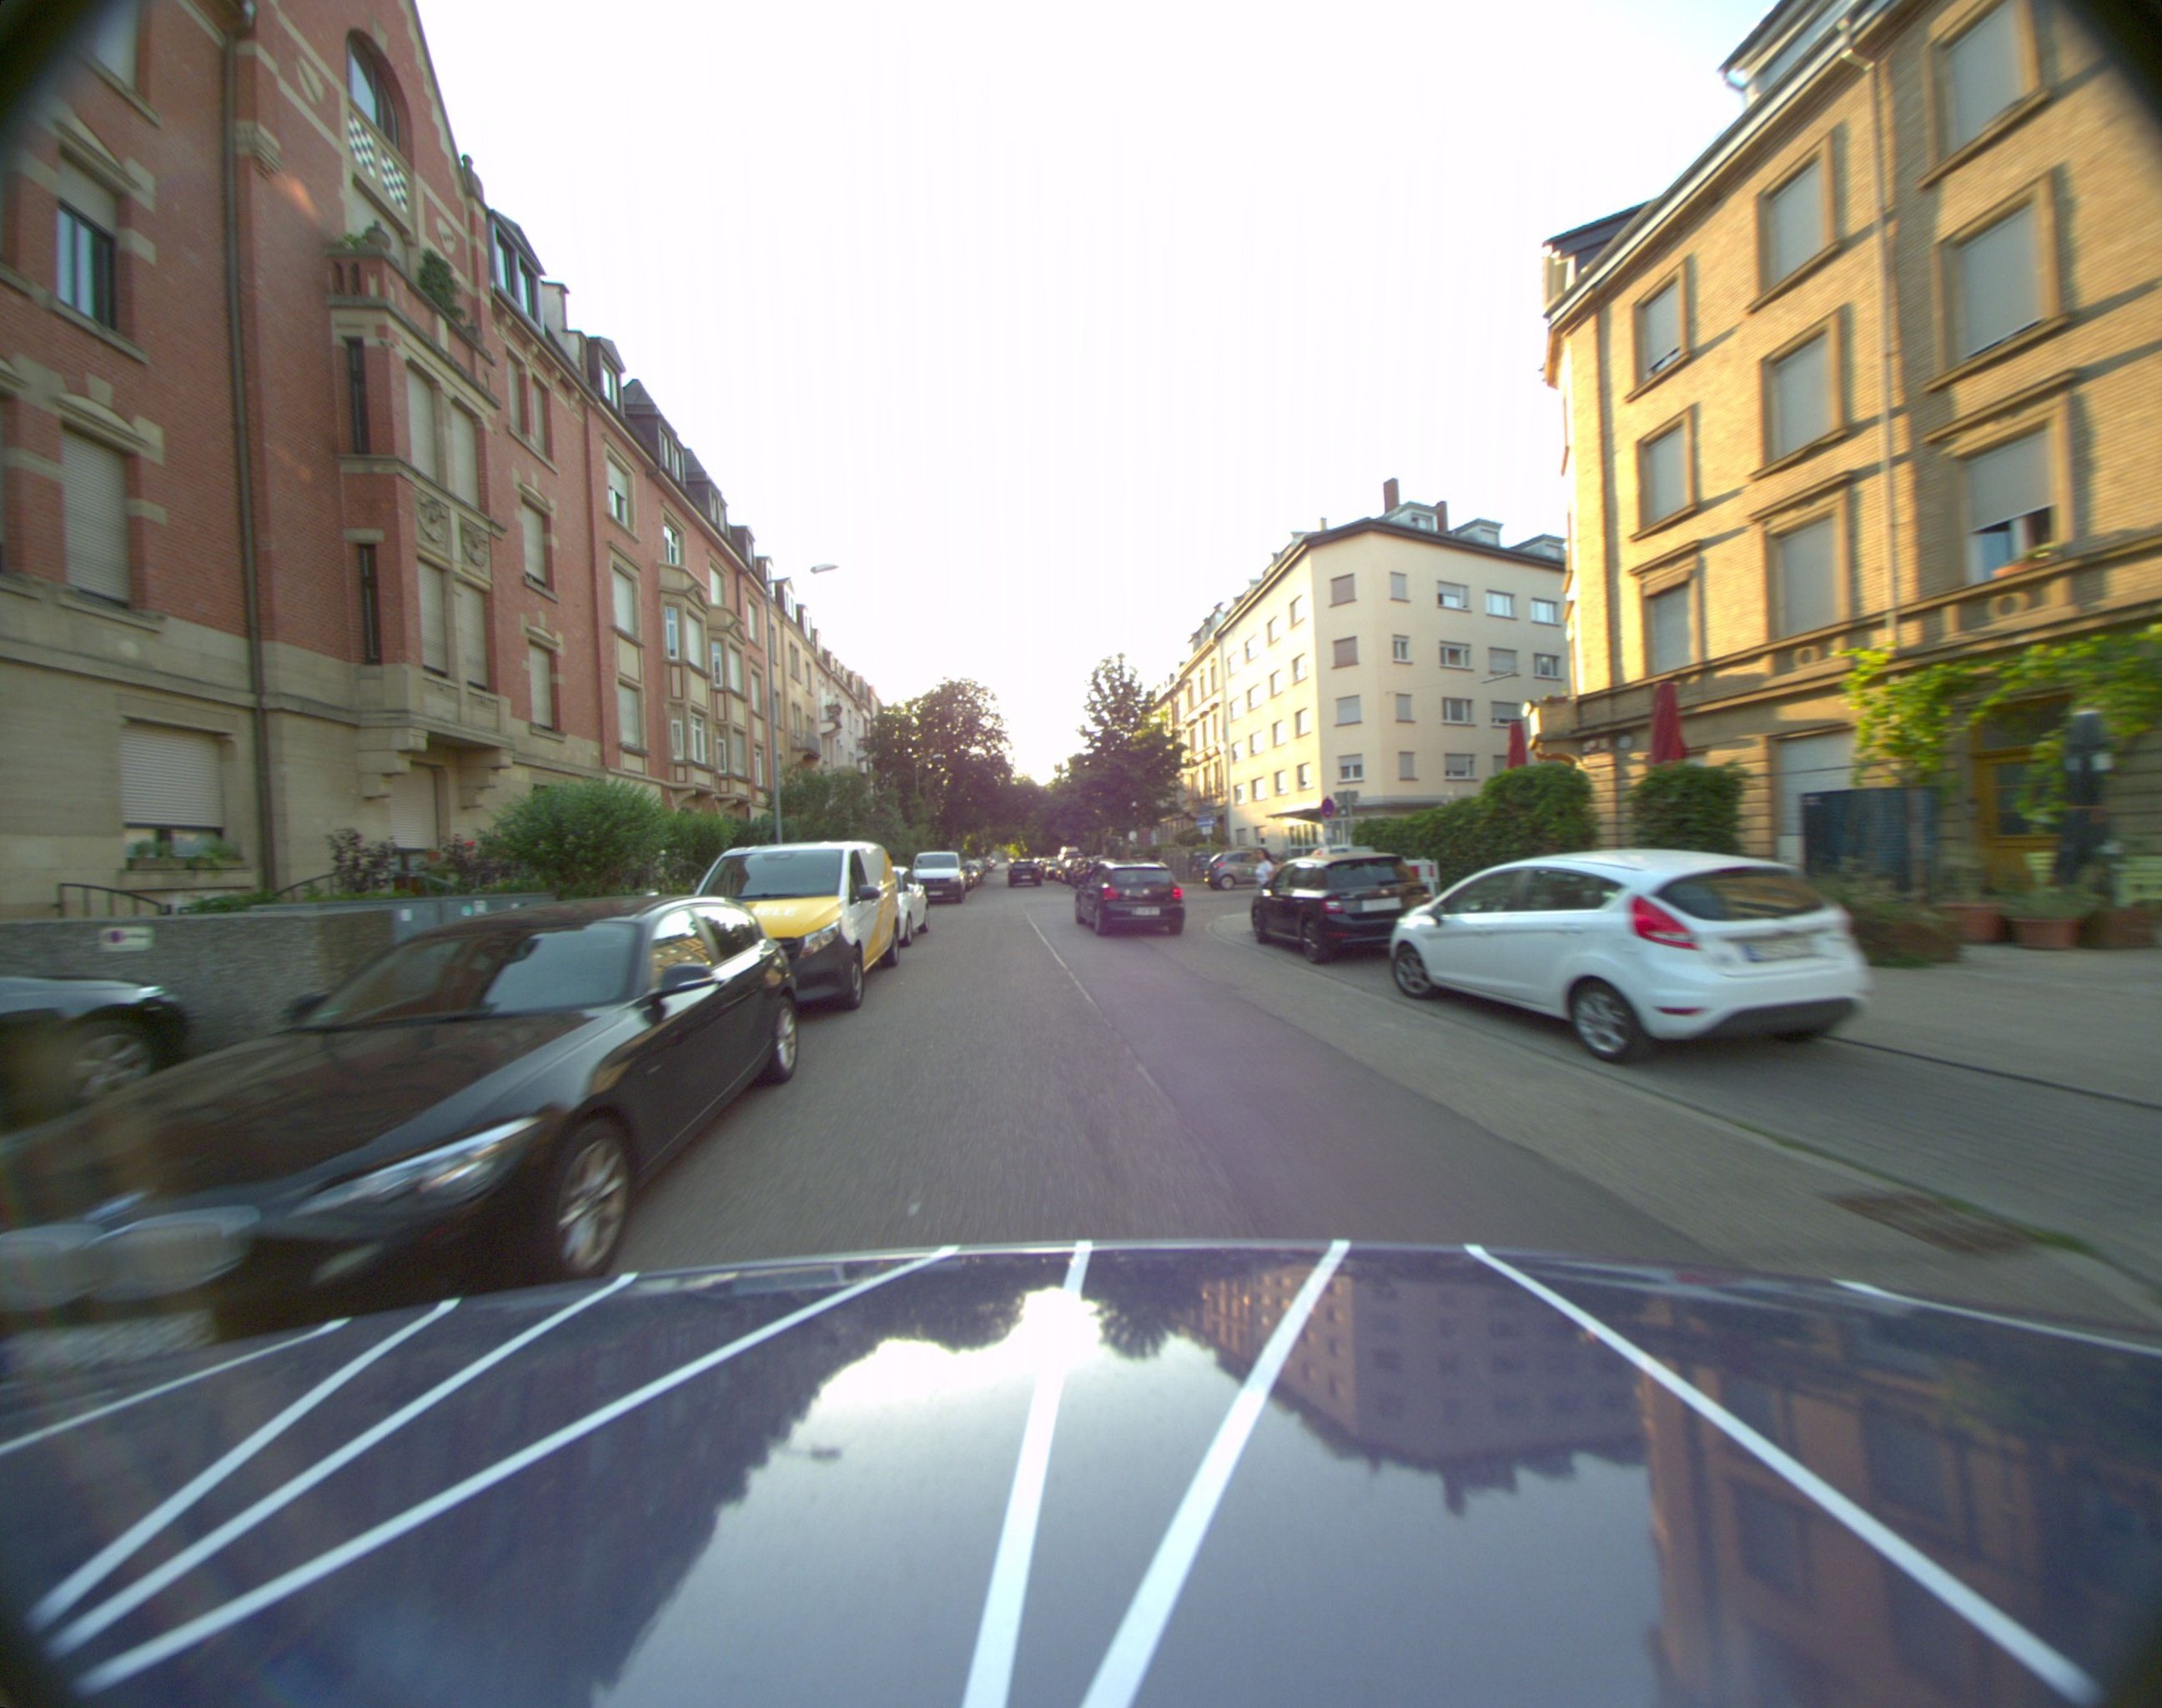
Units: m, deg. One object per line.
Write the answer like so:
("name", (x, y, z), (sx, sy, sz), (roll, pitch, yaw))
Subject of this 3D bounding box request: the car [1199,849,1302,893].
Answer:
("car", (6.638, 0.669, 30.008), (3.517, 1.499, 1.844), (-3, -1, -7))

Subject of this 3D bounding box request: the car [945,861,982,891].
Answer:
("car", (-7.101, 1.290, 46.343), (1.761, 1.573, 4.840), (-4, 0, -4))

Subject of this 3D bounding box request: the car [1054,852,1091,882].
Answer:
("car", (-0.611, 0.798, 49.180), (1.867, 1.768, 4.620), (-3, 0, -7))

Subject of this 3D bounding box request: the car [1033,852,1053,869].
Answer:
("car", (-4.045, 0.680, 80.803), (1.678, 1.627, 3.938), (-3, 0, -9))

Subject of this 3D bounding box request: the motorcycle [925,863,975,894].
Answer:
("motorcycle", (-6.376, 1.171, 37.050), (2.099, 1.473, 1.130), (-1, 0, -39))

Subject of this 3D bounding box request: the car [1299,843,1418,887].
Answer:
("car", (11.111, 0.426, 30.676), (4.068, 1.500, 1.974), (-4, 0, 6))

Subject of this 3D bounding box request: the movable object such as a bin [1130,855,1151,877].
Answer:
("movable object such as a bin", (3.988, 0.823, 51.187), (0.949, 1.379, 1.550), (-4, 0, -9))

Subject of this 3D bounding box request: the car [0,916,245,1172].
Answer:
("car", (-7.230, 1.197, 3.713), (1.731, 1.416, 4.420), (-1, 0, -7))

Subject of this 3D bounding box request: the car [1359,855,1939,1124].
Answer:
("car", (4.246, 0.824, 6.628), (1.656, 1.521, 4.014), (-3, 0, -8))

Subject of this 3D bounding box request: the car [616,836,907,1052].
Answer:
("car", (-3.505, 0.832, 9.540), (1.899, 1.873, 5.079), (-3, 0, -6))

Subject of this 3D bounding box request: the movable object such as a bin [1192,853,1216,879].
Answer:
("movable object such as a bin", (6.686, 0.631, 41.381), (0.869, 1.344, 1.398), (-4, 0, -4))

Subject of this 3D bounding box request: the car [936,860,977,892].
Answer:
("car", (-6.673, 1.151, 41.109), (1.725, 1.542, 4.323), (-3, 0, -4))

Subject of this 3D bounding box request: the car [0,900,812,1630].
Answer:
("car", (-2.839, 1.116, 3.869), (1.726, 1.416, 4.251), (-4, 0, -6))

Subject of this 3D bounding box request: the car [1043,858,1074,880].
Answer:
("car", (-1.671, 1.061, 55.343), (1.733, 1.433, 4.022), (-3, 0, -8))

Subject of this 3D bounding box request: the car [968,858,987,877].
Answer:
("car", (-10.031, 1.266, 73.768), (1.738, 1.692, 4.166), (-3, 0, -8))

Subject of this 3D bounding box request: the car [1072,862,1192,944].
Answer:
("car", (0.911, 0.902, 15.682), (1.657, 1.446, 3.938), (0, 0, -8))

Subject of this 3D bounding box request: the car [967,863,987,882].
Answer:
("car", (-8.745, 1.514, 63.842), (1.480, 1.498, 3.926), (-3, 0, -8))

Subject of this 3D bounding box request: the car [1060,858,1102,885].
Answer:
("car", (-0.072, 0.980, 44.205), (1.867, 1.404, 4.588), (-3, 0, -7))

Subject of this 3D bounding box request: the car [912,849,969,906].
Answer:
("car", (-5.461, 0.861, 30.166), (1.867, 2.027, 5.541), (-1, 0, -7))

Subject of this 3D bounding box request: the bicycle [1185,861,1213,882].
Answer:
("bicycle", (5.948, 0.874, 38.407), (0.689, 1.019, 1.930), (-4, 0, -12))

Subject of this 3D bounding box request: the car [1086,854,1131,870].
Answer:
("car", (2.876, 0.831, 79.258), (4.415, 1.333, 1.625), (-3, 0, -5))

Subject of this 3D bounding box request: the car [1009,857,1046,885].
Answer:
("car", (-3.099, 0.952, 43.504), (1.785, 1.508, 3.997), (-1, 0, -9))

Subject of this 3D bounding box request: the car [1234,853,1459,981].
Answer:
("car", (3.765, 0.800, 11.538), (1.708, 1.525, 3.842), (-3, 0, -6))

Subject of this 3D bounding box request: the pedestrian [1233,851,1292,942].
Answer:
("pedestrian", (3.364, 0.769, 14.125), (0.786, 1.609, 0.711), (-4, 1, -4))

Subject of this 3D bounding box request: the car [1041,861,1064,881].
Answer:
("car", (-2.432, 1.400, 64.160), (1.683, 1.489, 3.624), (-3, 0, -4))

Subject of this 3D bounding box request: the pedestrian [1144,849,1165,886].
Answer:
("pedestrian", (3.643, 0.660, 37.675), (0.890, 1.712, 0.959), (-4, 1, 9))

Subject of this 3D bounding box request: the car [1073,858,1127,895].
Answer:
("car", (0.795, 0.954, 34.264), (1.680, 1.453, 4.460), (-3, 0, -8))

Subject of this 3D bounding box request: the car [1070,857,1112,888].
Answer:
("car", (0.465, 0.928, 38.949), (1.747, 1.412, 4.141), (-3, 0, -4))

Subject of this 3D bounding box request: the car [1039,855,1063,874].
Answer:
("car", (-2.758, 0.953, 69.516), (1.867, 1.653, 4.019), (-3, 0, -5))

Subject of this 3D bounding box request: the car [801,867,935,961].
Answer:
("car", (-4.030, 1.057, 15.010), (1.679, 1.468, 3.860), (-3, 0, -3))
